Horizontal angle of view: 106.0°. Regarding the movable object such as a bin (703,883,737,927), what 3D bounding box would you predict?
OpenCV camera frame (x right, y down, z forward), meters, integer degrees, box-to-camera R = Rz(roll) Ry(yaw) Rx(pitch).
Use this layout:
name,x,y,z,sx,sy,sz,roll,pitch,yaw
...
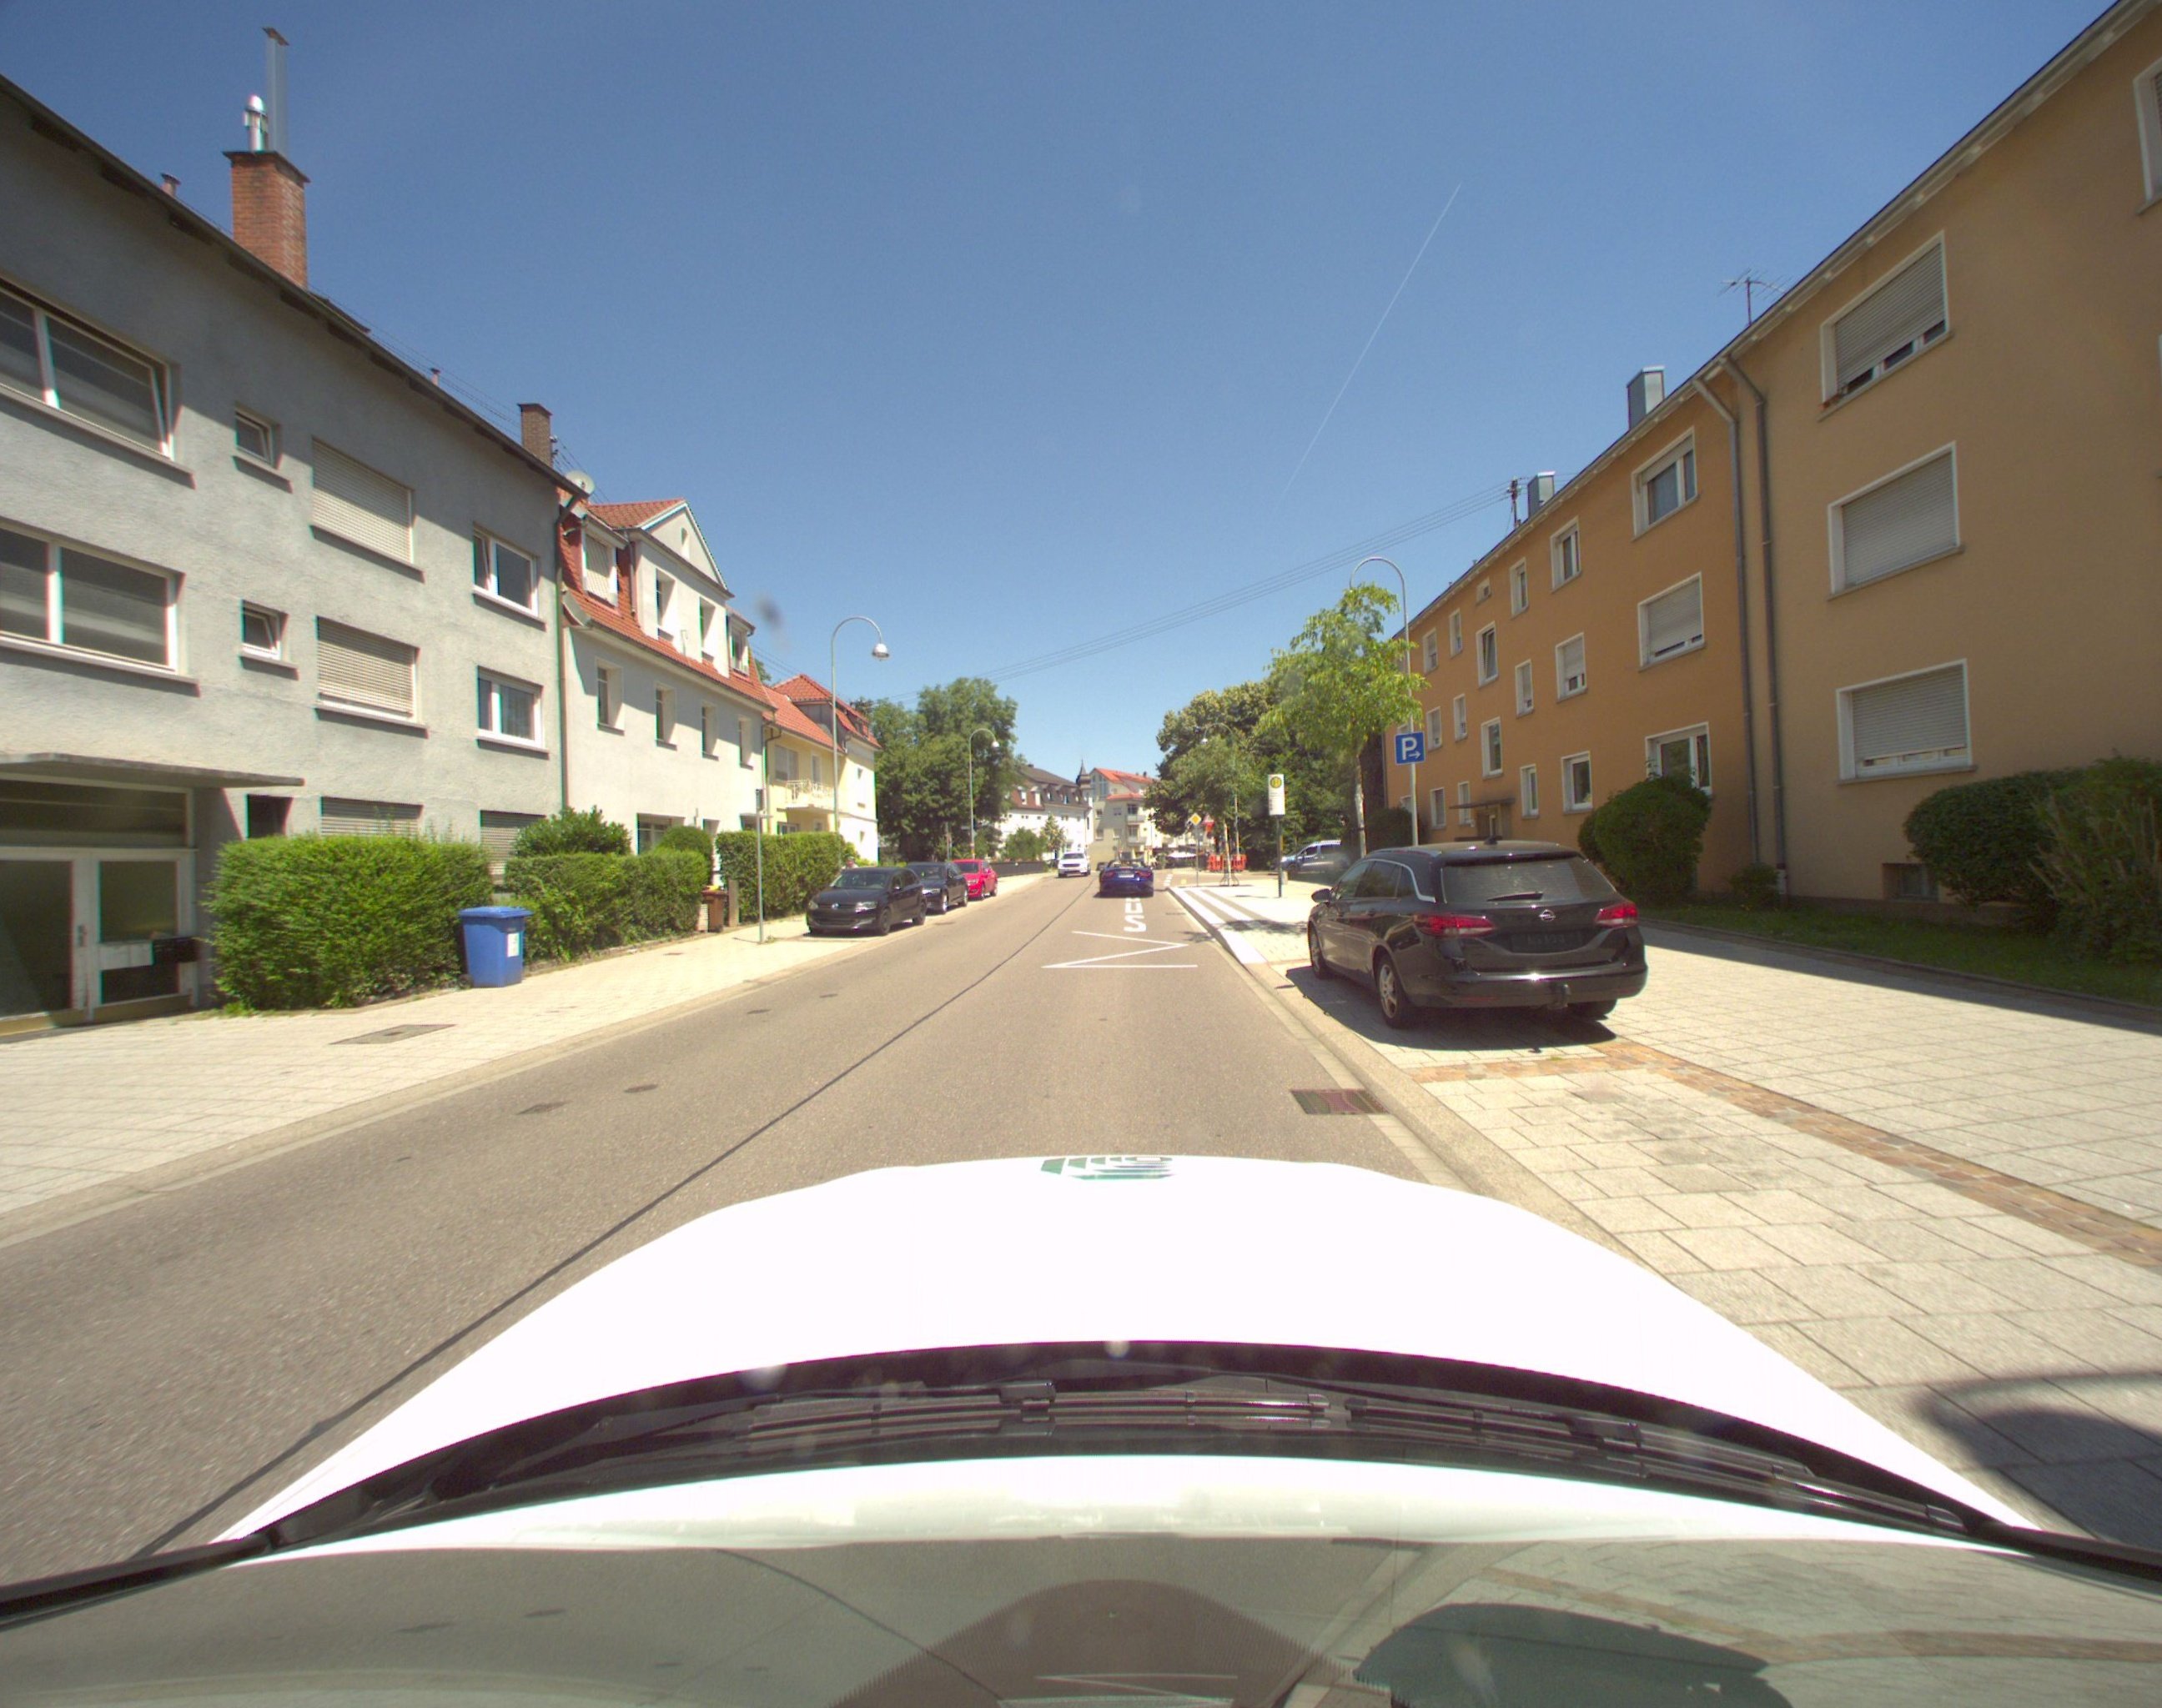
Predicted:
name,x,y,z,sx,sy,sz,roll,pitch,yaw
movable object such as a bin,-8.575,1.209,19.338,0.465,0.990,0.614,-3,0,3

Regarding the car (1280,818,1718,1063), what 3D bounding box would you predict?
name,x,y,z,sx,sy,sz,roll,pitch,yaw
car,3.410,0.579,7.993,1.826,1.504,5.067,-4,0,3

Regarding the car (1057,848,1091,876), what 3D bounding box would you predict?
name,x,y,z,sx,sy,sz,roll,pitch,yaw
car,-0.418,0.505,52.018,1.870,1.597,4.361,-4,0,2

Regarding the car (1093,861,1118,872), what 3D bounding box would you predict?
name,x,y,z,sx,sy,sz,roll,pitch,yaw
car,3.566,1.811,118.018,3.232,1.458,1.702,-3,-1,26

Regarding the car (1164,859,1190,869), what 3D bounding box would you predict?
name,x,y,z,sx,sy,sz,roll,pitch,yaw
car,13.659,1.405,115.802,1.696,1.460,4.155,0,-1,41

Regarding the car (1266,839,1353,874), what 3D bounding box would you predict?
name,x,y,z,sx,sy,sz,roll,pitch,yaw
car,12.697,0.126,45.328,4.330,1.839,1.747,-1,-1,-5

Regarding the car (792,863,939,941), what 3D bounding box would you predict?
name,x,y,z,sx,sy,sz,roll,pitch,yaw
car,-4.730,0.984,18.550,1.778,1.459,4.206,0,1,7

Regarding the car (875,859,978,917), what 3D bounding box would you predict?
name,x,y,z,sx,sy,sz,roll,pitch,yaw
car,-4.574,0.955,24.987,1.856,1.461,5.311,-1,1,3

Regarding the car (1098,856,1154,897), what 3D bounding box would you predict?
name,x,y,z,sx,sy,sz,roll,pitch,yaw
car,1.657,0.760,29.675,1.862,1.342,4.600,-1,-1,3

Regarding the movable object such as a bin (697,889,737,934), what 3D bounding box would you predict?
name,x,y,z,sx,sy,sz,roll,pitch,yaw
movable object such as a bin,-8.006,1.261,17.943,0.492,0.912,0.706,-3,0,3

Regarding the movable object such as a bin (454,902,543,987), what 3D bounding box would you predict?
name,x,y,z,sx,sy,sz,roll,pitch,yaw
movable object such as a bin,-7.864,1.208,11.020,0.670,1.047,0.652,-3,0,2

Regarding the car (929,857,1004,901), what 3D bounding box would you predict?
name,x,y,z,sx,sy,sz,roll,pitch,yaw
car,-4.239,0.881,30.903,1.869,1.479,4.742,0,0,3

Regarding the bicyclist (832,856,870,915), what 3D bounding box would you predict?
name,x,y,z,sx,sy,sz,roll,pitch,yaw
bicyclist,-6.713,0.912,23.765,0.779,1.659,0.835,-3,0,1
